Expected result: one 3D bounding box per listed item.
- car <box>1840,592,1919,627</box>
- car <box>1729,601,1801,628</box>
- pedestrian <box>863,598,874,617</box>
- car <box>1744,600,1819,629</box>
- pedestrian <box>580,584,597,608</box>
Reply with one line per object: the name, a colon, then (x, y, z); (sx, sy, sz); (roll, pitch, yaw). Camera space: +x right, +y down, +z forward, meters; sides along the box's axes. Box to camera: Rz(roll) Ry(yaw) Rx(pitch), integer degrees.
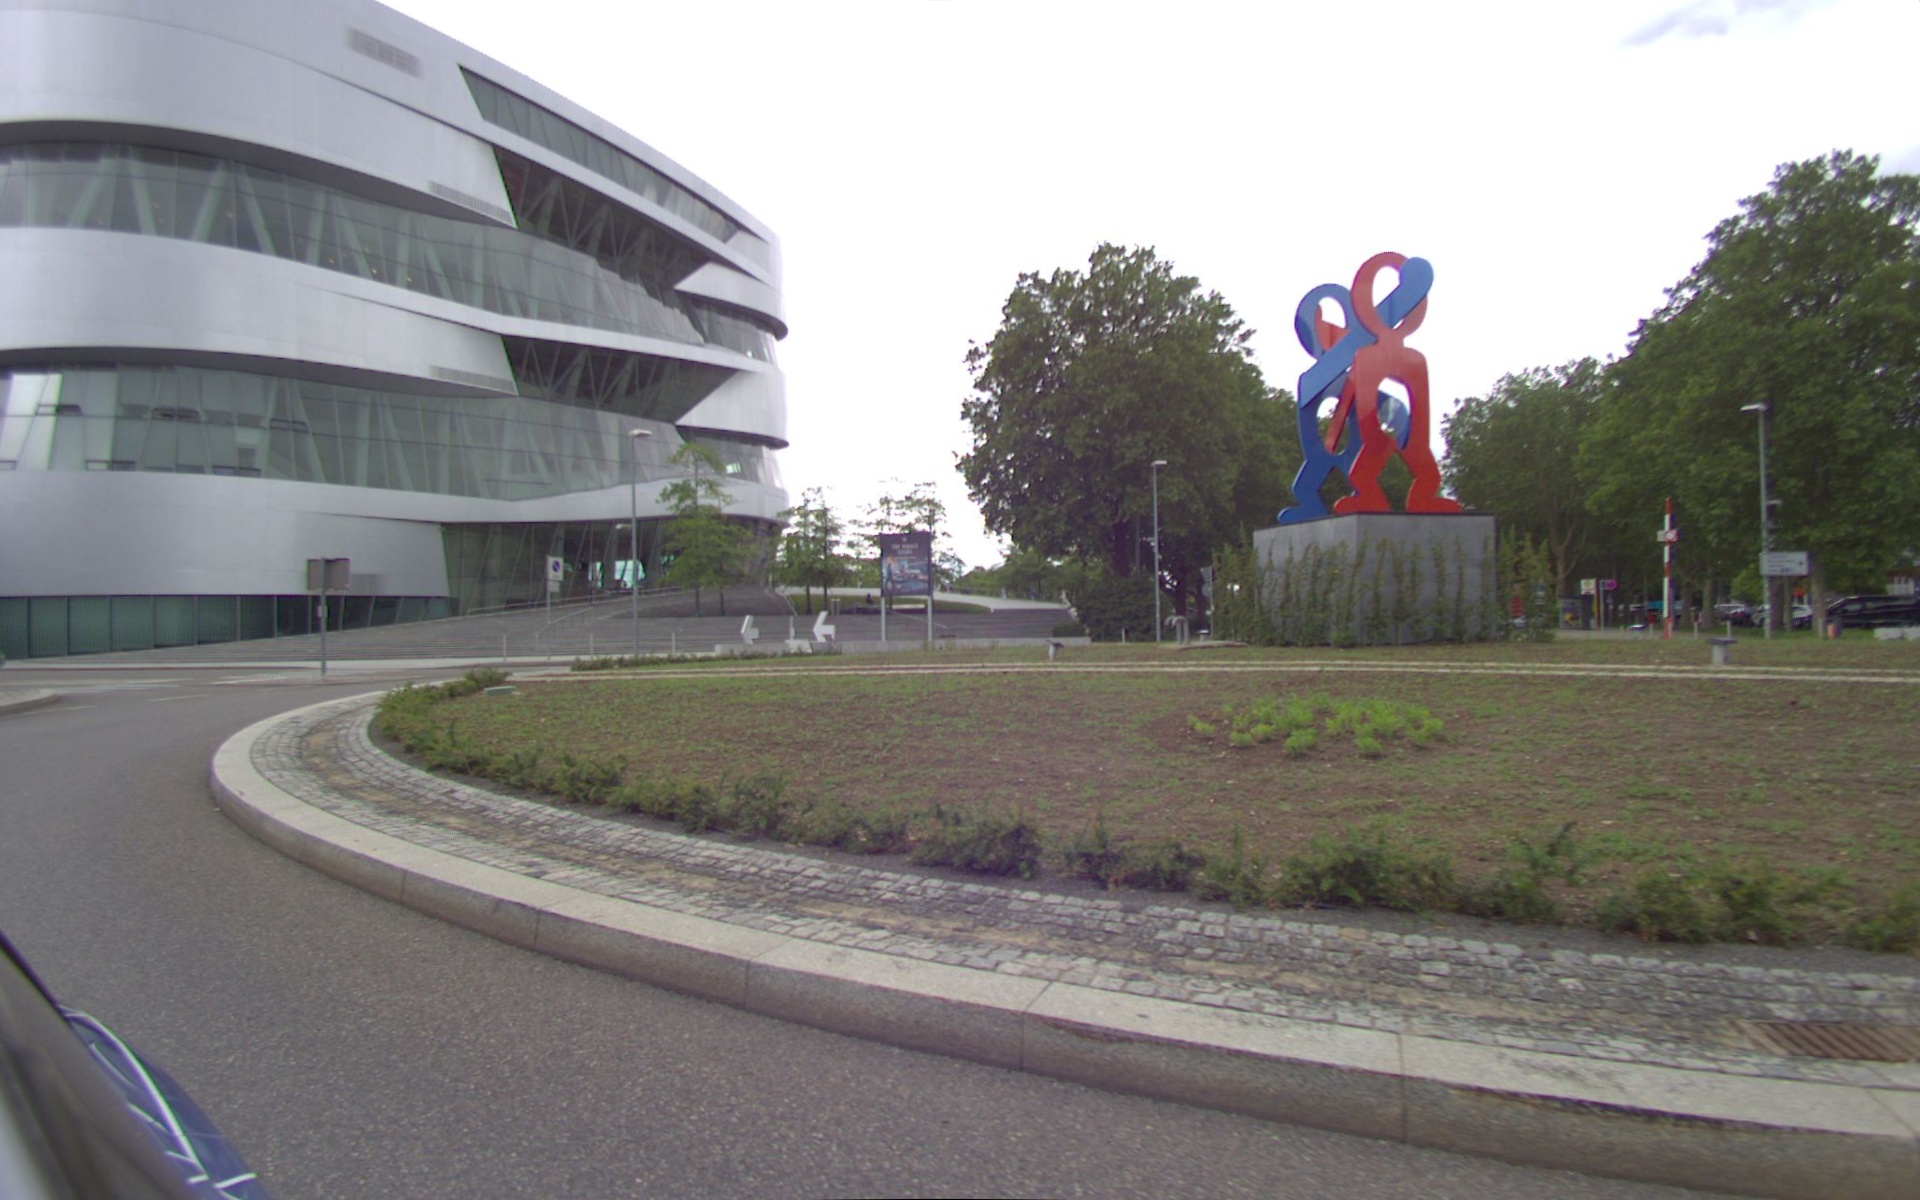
car: (50.490, 0.520, 54.947); (3.694, 1.791, 1.654); (-3, -3, 28)
car: (56.292, 1.038, 70.872); (3.700, 1.791, 1.652); (-3, -3, 33)
pedestrian: (-7.210, 0.585, 79.603); (0.779, 1.398, 0.683); (-1, -3, -4)
car: (55.472, 0.999, 68.433); (3.701, 1.791, 1.651); (-3, -3, 34)
pedestrian: (-31.706, -0.351, 86.289); (0.850, 1.939, 0.942); (-3, 1, 32)
